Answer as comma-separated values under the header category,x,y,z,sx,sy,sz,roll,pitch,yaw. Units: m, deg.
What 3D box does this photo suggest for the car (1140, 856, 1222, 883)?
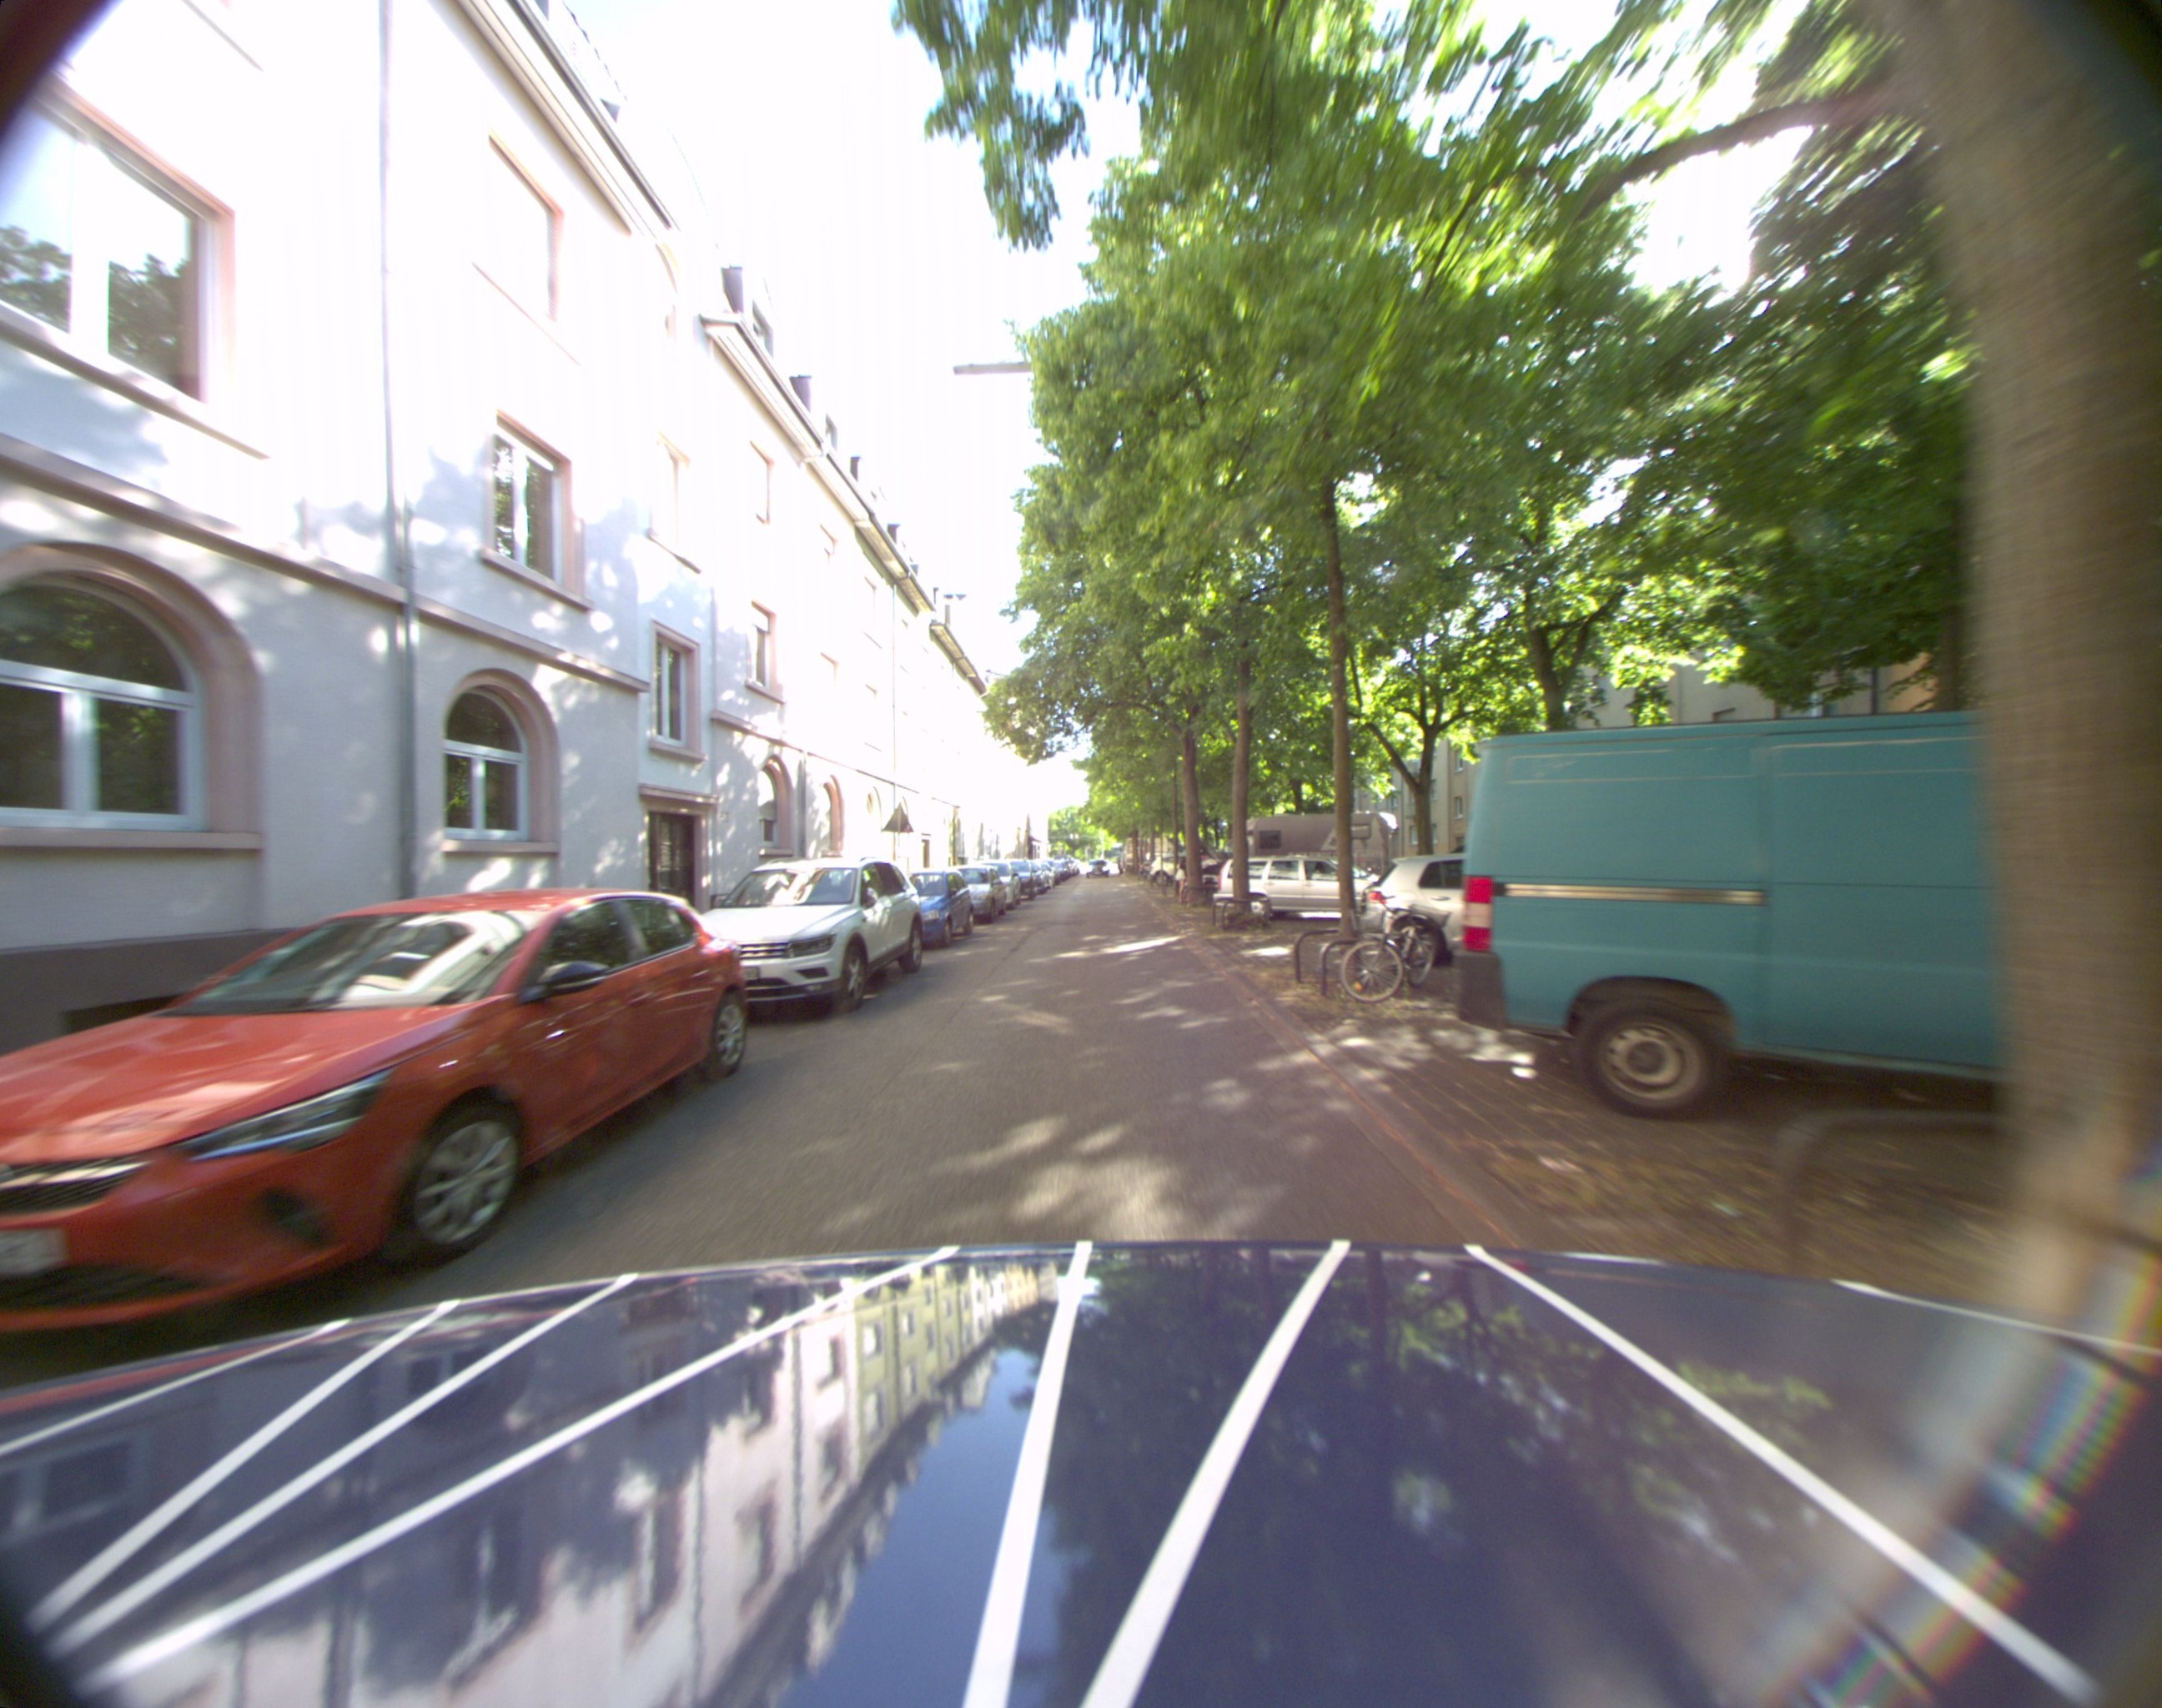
category,x,y,z,sx,sy,sz,roll,pitch,yaw
car,5.860,0.905,44.690,4.411,1.453,1.719,-1,1,34

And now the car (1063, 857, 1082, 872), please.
category,x,y,z,sx,sy,sz,roll,pitch,yaw
car,-0.888,1.075,80.028,1.807,1.454,4.439,-1,0,-3

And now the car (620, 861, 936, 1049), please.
category,x,y,z,sx,sy,sz,roll,pitch,yaw
car,-3.195,0.941,9.224,1.821,1.664,4.674,-1,0,2

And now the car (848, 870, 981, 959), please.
category,x,y,z,sx,sy,sz,roll,pitch,yaw
car,-3.064,1.064,14.727,1.621,1.404,3.788,-1,0,2

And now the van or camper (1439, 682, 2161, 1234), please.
category,x,y,z,sx,sy,sz,roll,pitch,yaw
van or camper,4.973,0.429,4.081,5.502,2.262,2.224,0,0,26

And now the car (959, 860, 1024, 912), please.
category,x,y,z,sx,sy,sz,roll,pitch,yaw
car,-2.821,0.985,24.622,1.635,1.525,3.592,-1,0,0

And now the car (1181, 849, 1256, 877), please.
category,x,y,z,sx,sy,sz,roll,pitch,yaw
car,9.430,0.569,52.134,4.593,1.821,2.023,0,1,31

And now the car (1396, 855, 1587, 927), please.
category,x,y,z,sx,sy,sz,roll,pitch,yaw
car,9.013,0.764,16.817,3.564,1.416,1.678,-1,0,31

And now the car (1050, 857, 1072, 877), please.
category,x,y,z,sx,sy,sz,roll,pitch,yaw
car,-1.493,0.978,58.077,1.626,1.489,3.595,-1,0,0

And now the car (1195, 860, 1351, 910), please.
category,x,y,z,sx,sy,sz,roll,pitch,yaw
car,5.827,0.910,23.223,4.318,1.416,1.678,-1,0,28

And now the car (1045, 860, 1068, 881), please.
category,x,y,z,sx,sy,sz,roll,pitch,yaw
car,-1.735,1.097,53.234,1.553,1.386,3.860,-1,0,-2

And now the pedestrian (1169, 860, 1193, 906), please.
category,x,y,z,sx,sy,sz,roll,pitch,yaw
pedestrian,3.182,0.921,24.179,0.615,1.447,0.520,0,1,25

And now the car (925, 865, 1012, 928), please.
category,x,y,z,sx,sy,sz,roll,pitch,yaw
car,-2.842,1.027,19.924,1.635,1.404,4.089,-1,0,0

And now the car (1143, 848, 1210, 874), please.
category,x,y,z,sx,sy,sz,roll,pitch,yaw
car,7.181,0.544,57.081,4.512,1.854,2.085,-1,0,27

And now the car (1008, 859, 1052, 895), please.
category,x,y,z,sx,sy,sz,roll,pitch,yaw
car,-2.292,1.024,35.026,1.727,1.519,4.158,-1,0,0

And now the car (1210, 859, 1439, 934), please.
category,x,y,z,sx,sy,sz,roll,pitch,yaw
car,5.266,0.855,16.688,4.476,1.435,1.736,-1,0,34

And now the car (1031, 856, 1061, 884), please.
category,x,y,z,sx,sy,sz,roll,pitch,yaw
car,-2.129,0.952,47.108,1.727,1.676,4.158,-1,0,-1

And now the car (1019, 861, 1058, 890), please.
category,x,y,z,sx,sy,sz,roll,pitch,yaw
car,-2.220,1.095,40.632,1.726,1.424,4.158,-1,0,1

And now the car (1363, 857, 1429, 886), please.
category,x,y,z,sx,sy,sz,roll,pitch,yaw
car,16.518,0.905,40.013,1.896,1.409,4.000,-1,0,2

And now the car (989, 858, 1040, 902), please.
category,x,y,z,sx,sy,sz,roll,pitch,yaw
car,-2.545,0.972,29.858,1.727,1.587,4.157,-1,0,-1

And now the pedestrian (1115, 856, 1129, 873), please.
category,x,y,z,sx,sy,sz,roll,pitch,yaw
pedestrian,3.432,0.897,63.672,0.751,1.388,0.930,0,0,33

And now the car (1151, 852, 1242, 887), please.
category,x,y,z,sx,sy,sz,roll,pitch,yaw
car,5.758,0.790,38.100,4.136,1.669,1.763,-1,0,31

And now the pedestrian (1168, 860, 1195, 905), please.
category,x,y,z,sx,sy,sz,roll,pitch,yaw
pedestrian,3.286,0.926,24.876,0.710,1.447,0.597,0,0,25

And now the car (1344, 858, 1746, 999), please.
category,x,y,z,sx,sy,sz,roll,pitch,yaw
car,5.561,0.792,9.572,3.946,1.435,1.850,-1,0,30

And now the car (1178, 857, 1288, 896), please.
category,x,y,z,sx,sy,sz,roll,pitch,yaw
car,6.105,0.880,30.662,3.989,1.498,1.761,0,0,30

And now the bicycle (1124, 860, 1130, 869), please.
category,x,y,z,sx,sy,sz,roll,pitch,yaw
bicycle,5.686,1.242,93.389,0.354,1.066,1.591,-1,0,-9

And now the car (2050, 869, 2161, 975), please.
category,x,y,z,sx,sy,sz,roll,pitch,yaw
car,15.666,0.943,9.518,1.668,1.416,4.297,-1,0,2

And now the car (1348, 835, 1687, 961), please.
category,x,y,z,sx,sy,sz,roll,pitch,yaw
car,7.002,0.639,12.580,4.548,1.754,1.814,-1,0,32

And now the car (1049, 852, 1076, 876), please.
category,x,y,z,sx,sy,sz,roll,pitch,yaw
car,-1.516,0.825,63.323,1.953,1.889,4.846,-1,0,2

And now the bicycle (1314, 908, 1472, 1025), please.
category,x,y,z,sx,sy,sz,roll,pitch,yaw
bicycle,3.224,1.109,7.807,1.727,1.000,0.510,-1,0,-28

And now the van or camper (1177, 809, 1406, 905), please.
category,x,y,z,sx,sy,sz,roll,pitch,yaw
van or camper,7.096,0.115,26.000,7.230,2.912,2.318,0,0,29

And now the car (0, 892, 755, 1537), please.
category,x,y,z,sx,sy,sz,roll,pitch,yaw
car,-3.386,1.064,3.964,1.795,1.515,3.963,-1,0,-3

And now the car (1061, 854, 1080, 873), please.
category,x,y,z,sx,sy,sz,roll,pitch,yaw
car,-1.004,0.910,74.036,1.766,1.743,4.510,-1,0,0

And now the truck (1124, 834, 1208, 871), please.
category,x,y,z,sx,sy,sz,roll,pitch,yaw
truck,7.771,-0.106,70.073,7.305,3.274,2.552,0,0,33
